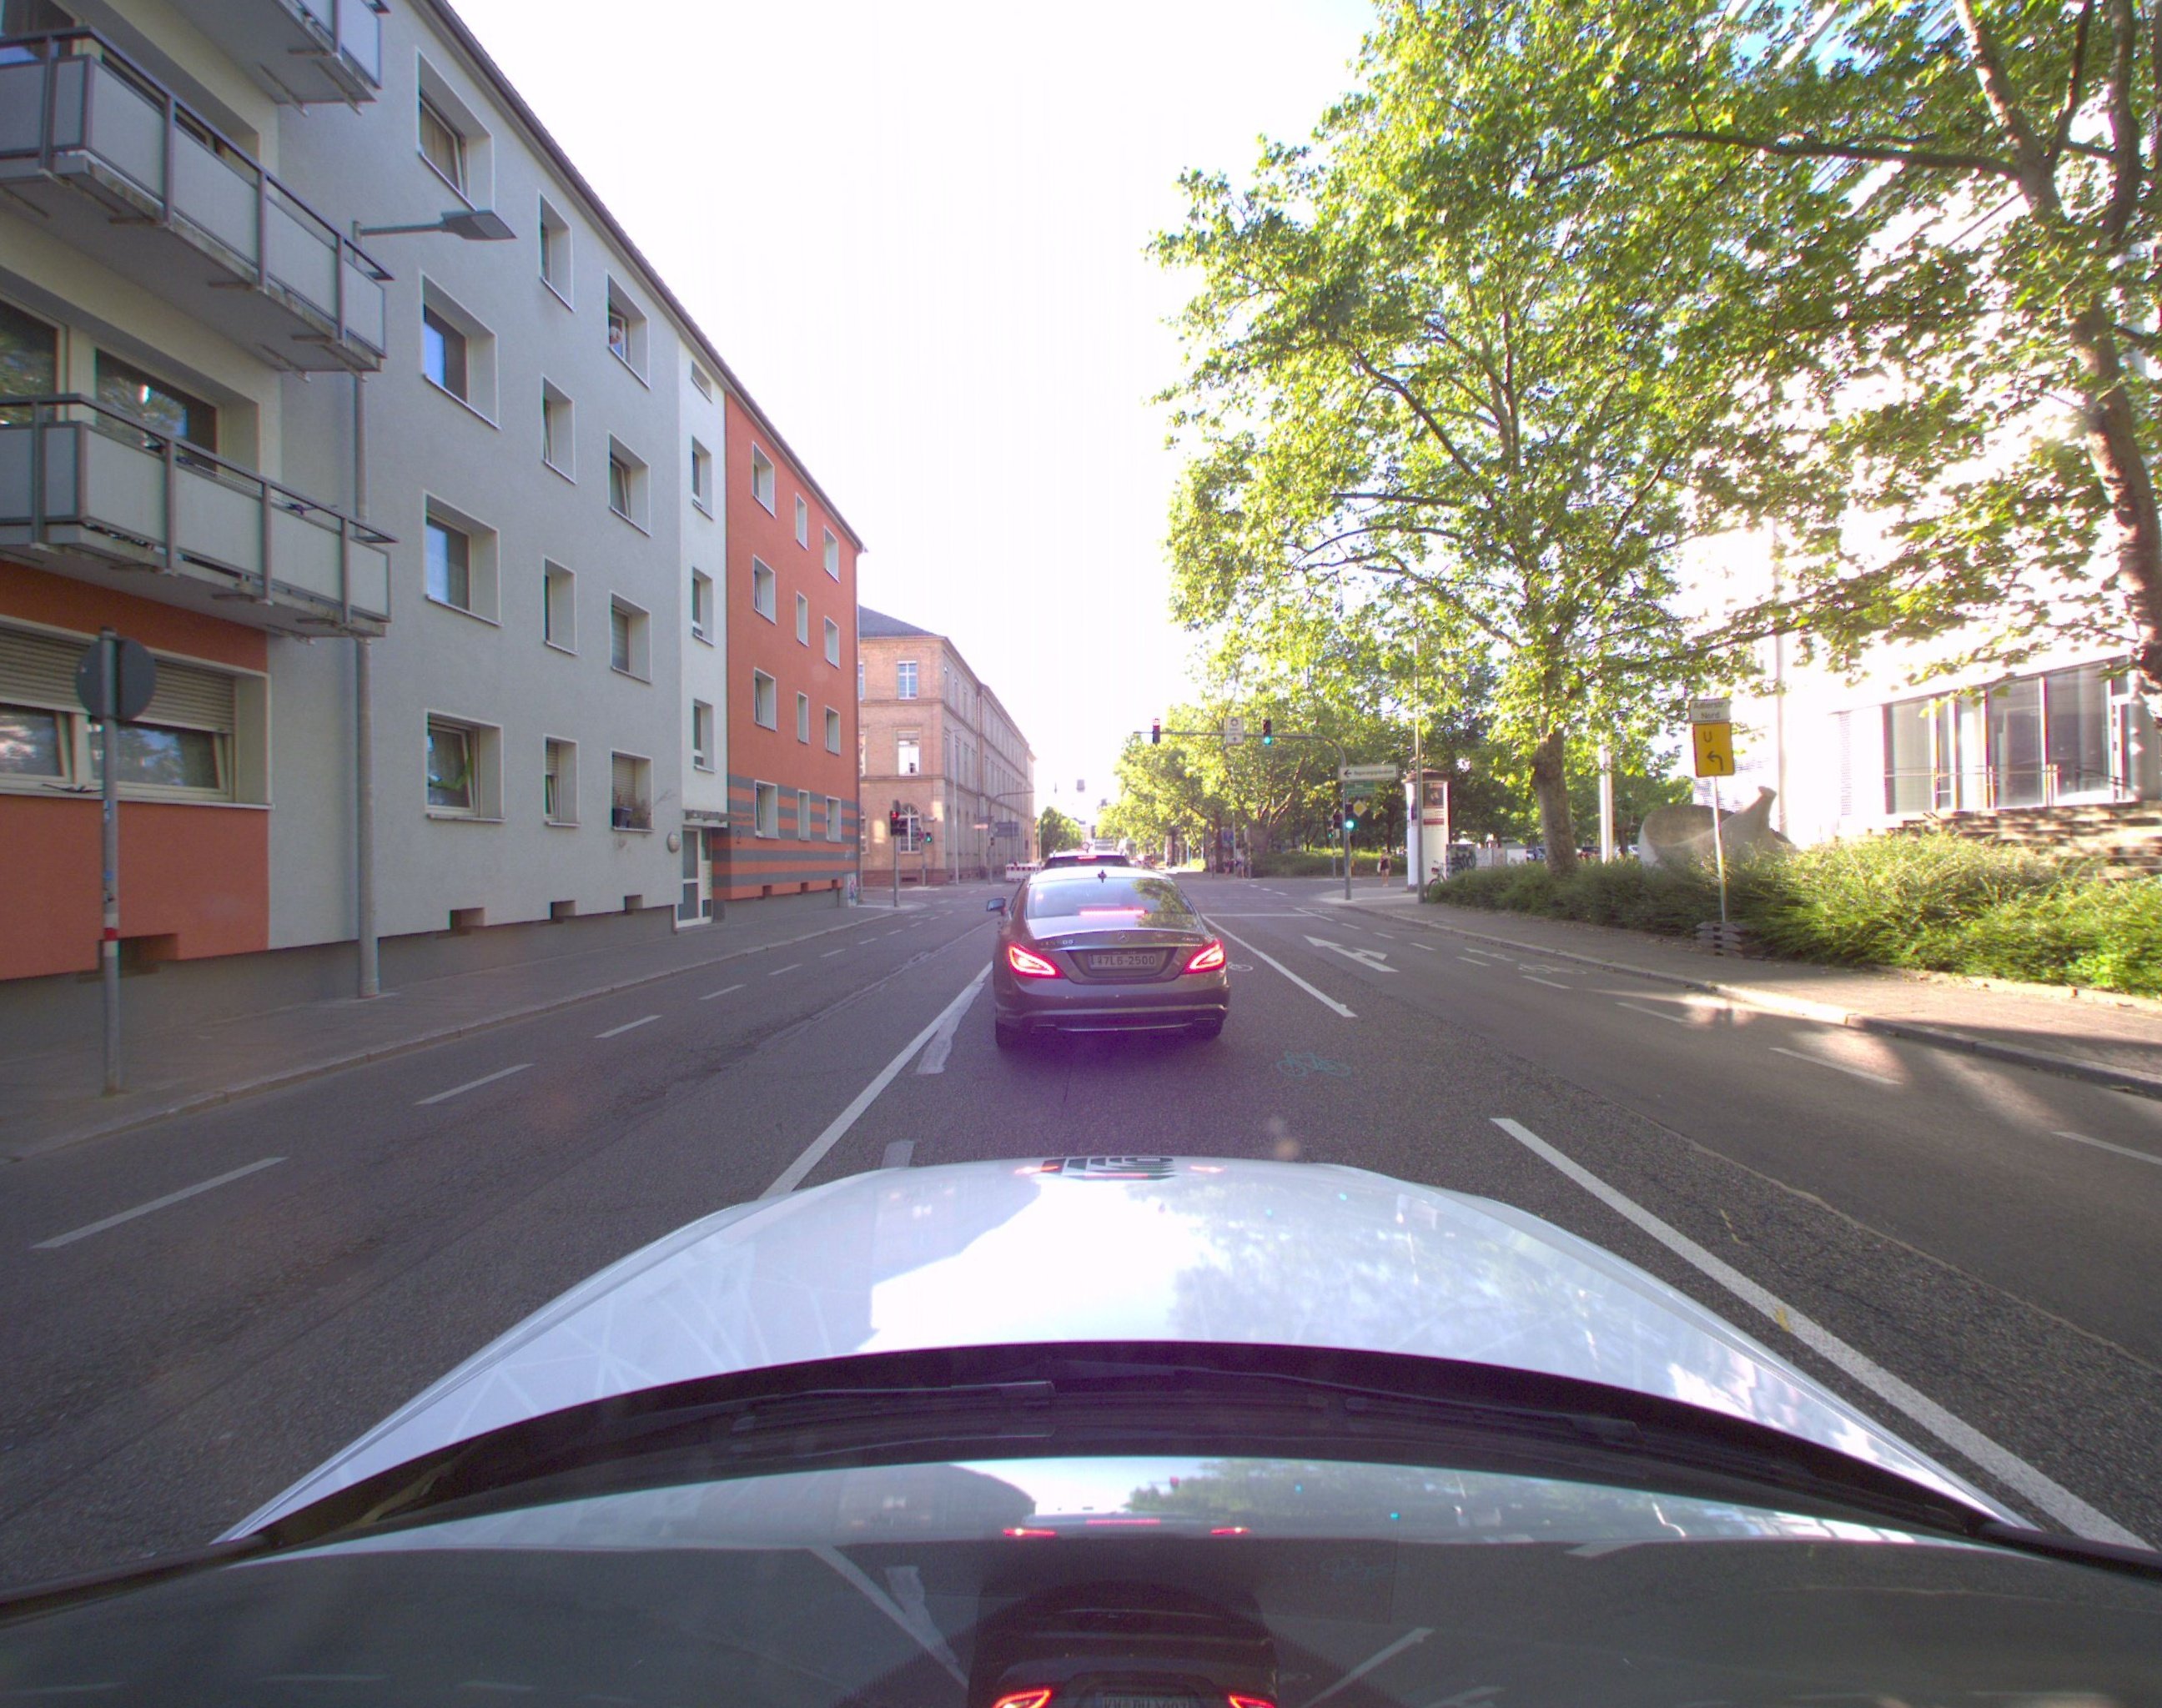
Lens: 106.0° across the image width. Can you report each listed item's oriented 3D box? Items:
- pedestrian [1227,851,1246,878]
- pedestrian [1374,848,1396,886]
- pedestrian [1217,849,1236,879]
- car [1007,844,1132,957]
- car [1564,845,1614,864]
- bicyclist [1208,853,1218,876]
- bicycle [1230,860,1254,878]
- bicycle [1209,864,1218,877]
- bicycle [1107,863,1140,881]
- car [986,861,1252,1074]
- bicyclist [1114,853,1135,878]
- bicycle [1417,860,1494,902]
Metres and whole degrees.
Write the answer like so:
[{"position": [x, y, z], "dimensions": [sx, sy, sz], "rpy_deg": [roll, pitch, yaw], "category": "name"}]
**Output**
[{"position": [9.820, 0.684, 51.506], "dimensions": [0.687, 1.697, 0.962], "rpy_deg": [0, -1, -27], "category": "pedestrian"}, {"position": [13.230, 0.551, 35.499], "dimensions": [0.792, 1.630, 0.911], "rpy_deg": [-1, -1, 15], "category": "pedestrian"}, {"position": [9.209, 0.640, 51.566], "dimensions": [0.736, 1.808, 0.901], "rpy_deg": [-1, -2, -25], "category": "pedestrian"}, {"position": [-0.053, 0.700, 13.945], "dimensions": [1.801, 1.612, 4.003], "rpy_deg": [-1, -1, 3], "category": "car"}, {"position": [39.737, 0.050, 63.817], "dimensions": [1.624, 1.483, 3.796], "rpy_deg": [0, -1, 1], "category": "car"}, {"position": [9.089, 0.712, 55.979], "dimensions": [0.644, 1.558, 0.809], "rpy_deg": [-1, -1, 11], "category": "bicyclist"}, {"position": [10.206, 0.966, 51.679], "dimensions": [0.527, 1.100, 1.725], "rpy_deg": [0, -1, -28], "category": "bicycle"}, {"position": [9.125, 1.133, 56.157], "dimensions": [0.544, 0.891, 1.873], "rpy_deg": [-1, -1, 11], "category": "bicycle"}, {"position": [2.633, 1.098, 50.148], "dimensions": [1.970, 1.062, 0.699], "rpy_deg": [0, -1, -32], "category": "bicycle"}, {"position": [0.107, 0.790, 7.876], "dimensions": [1.840, 1.429, 4.510], "rpy_deg": [0, 0, -4], "category": "car"}, {"position": [2.670, 0.706, 50.142], "dimensions": [0.956, 1.500, 0.814], "rpy_deg": [0, -1, -29], "category": "bicyclist"}, {"position": [10.799, 0.770, 23.493], "dimensions": [1.969, 1.190, 0.528], "rpy_deg": [0, -1, 0], "category": "bicycle"}]
